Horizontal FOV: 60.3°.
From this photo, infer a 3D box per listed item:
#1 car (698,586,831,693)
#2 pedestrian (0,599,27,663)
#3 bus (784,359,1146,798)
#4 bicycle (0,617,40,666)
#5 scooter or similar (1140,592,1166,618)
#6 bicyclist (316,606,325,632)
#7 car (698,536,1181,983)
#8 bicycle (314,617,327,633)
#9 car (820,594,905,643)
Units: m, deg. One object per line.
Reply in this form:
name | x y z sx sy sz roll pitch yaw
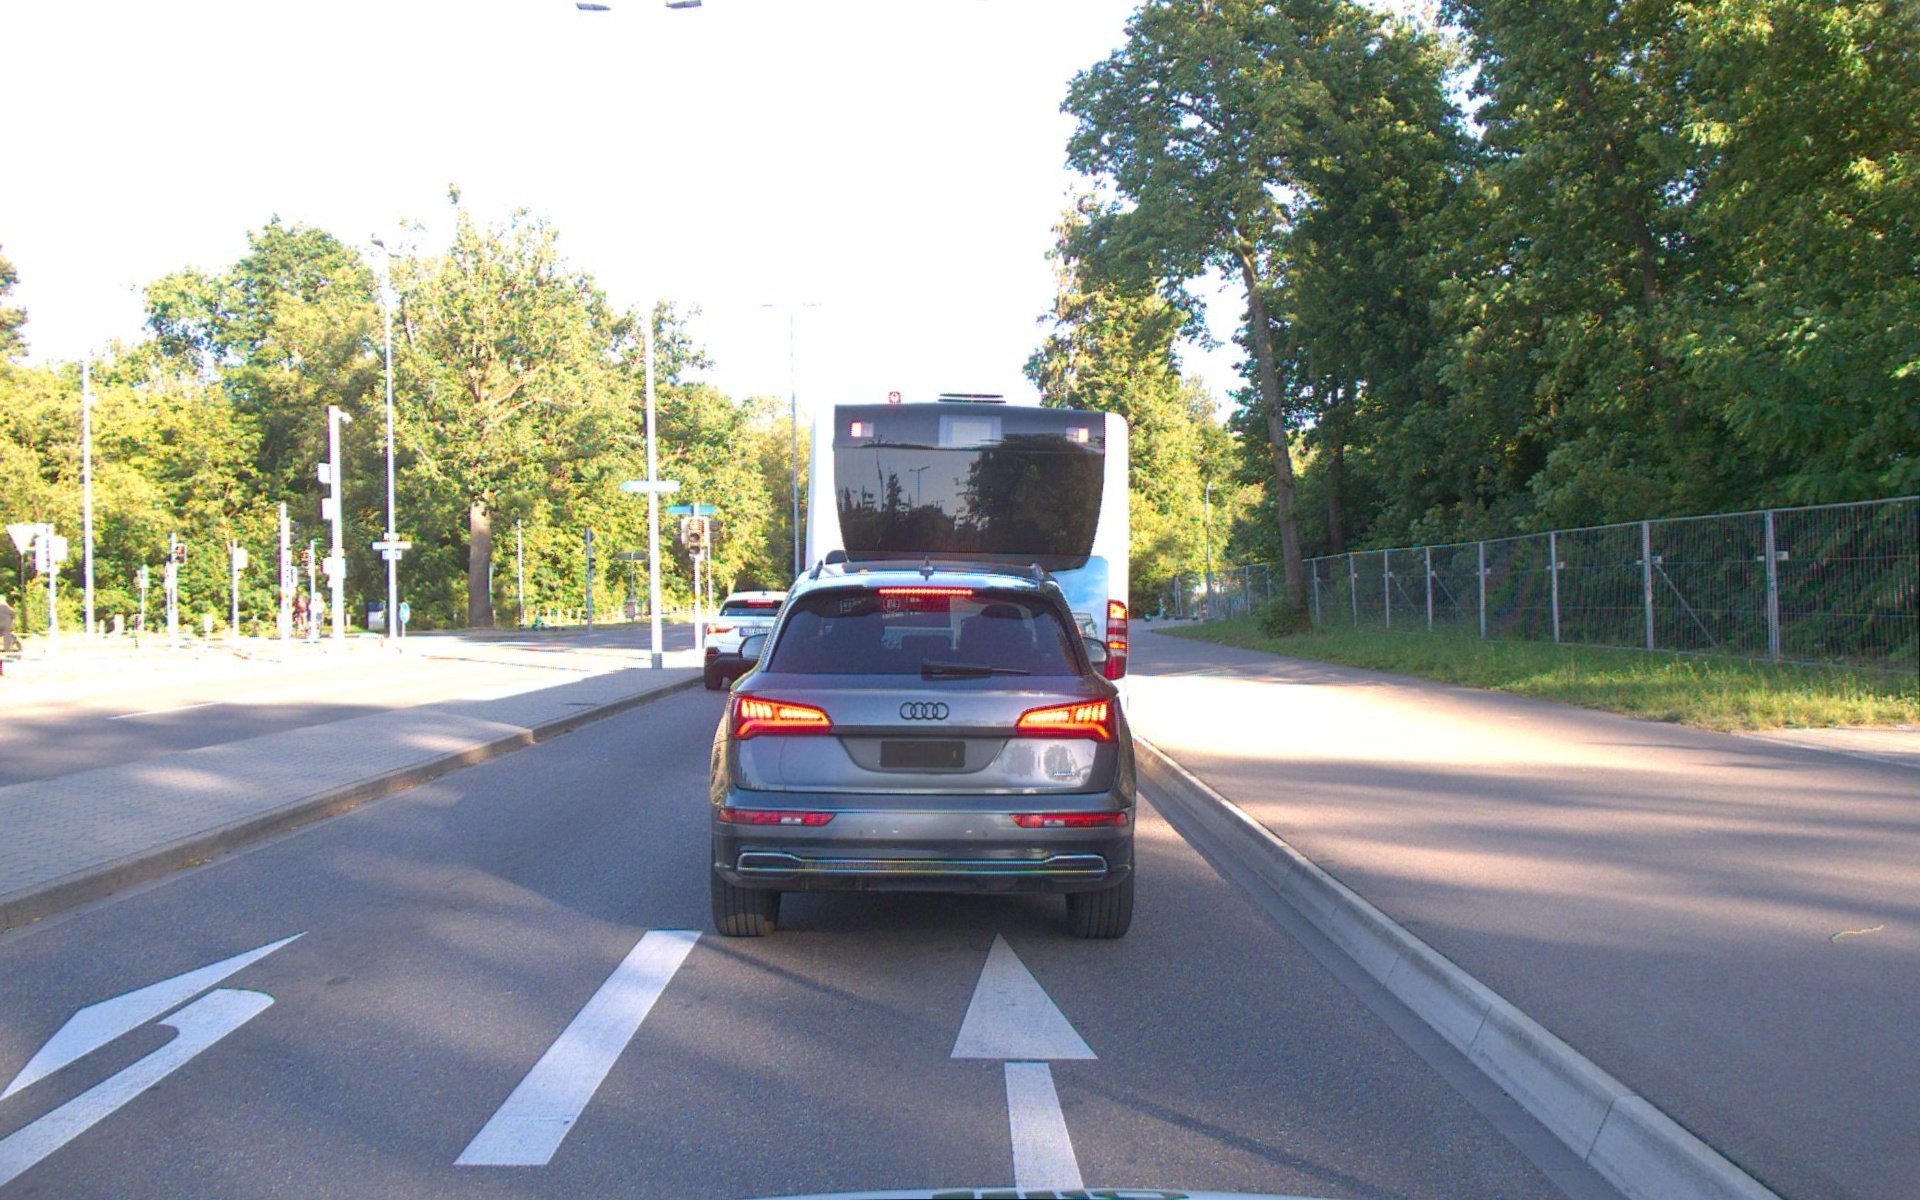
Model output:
car | -3.167 0.592 27.518 1.771 1.599 4.000 1 1 -1
pedestrian | -24.148 0.782 42.025 0.472 1.589 0.648 1 -1 -1
bus | 0.060 -0.199 15.176 2.624 3.196 5.882 1 1 0
bicycle | -24.147 1.036 41.975 0.458 1.198 2.003 1 0 -1
scooter or similar | 9.123 0.247 78.106 1.158 1.195 0.659 1 0 10
bicyclist | -24.657 0.735 63.793 0.268 0.979 0.240 1 -1 -5
car | -0.105 0.588 8.360 1.830 1.693 4.000 1 1 -1
bicycle | -24.662 0.959 63.769 0.261 0.592 0.838 1 0 -6
car | -3.517 0.671 60.499 1.951 1.681 4.331 1 0 13
